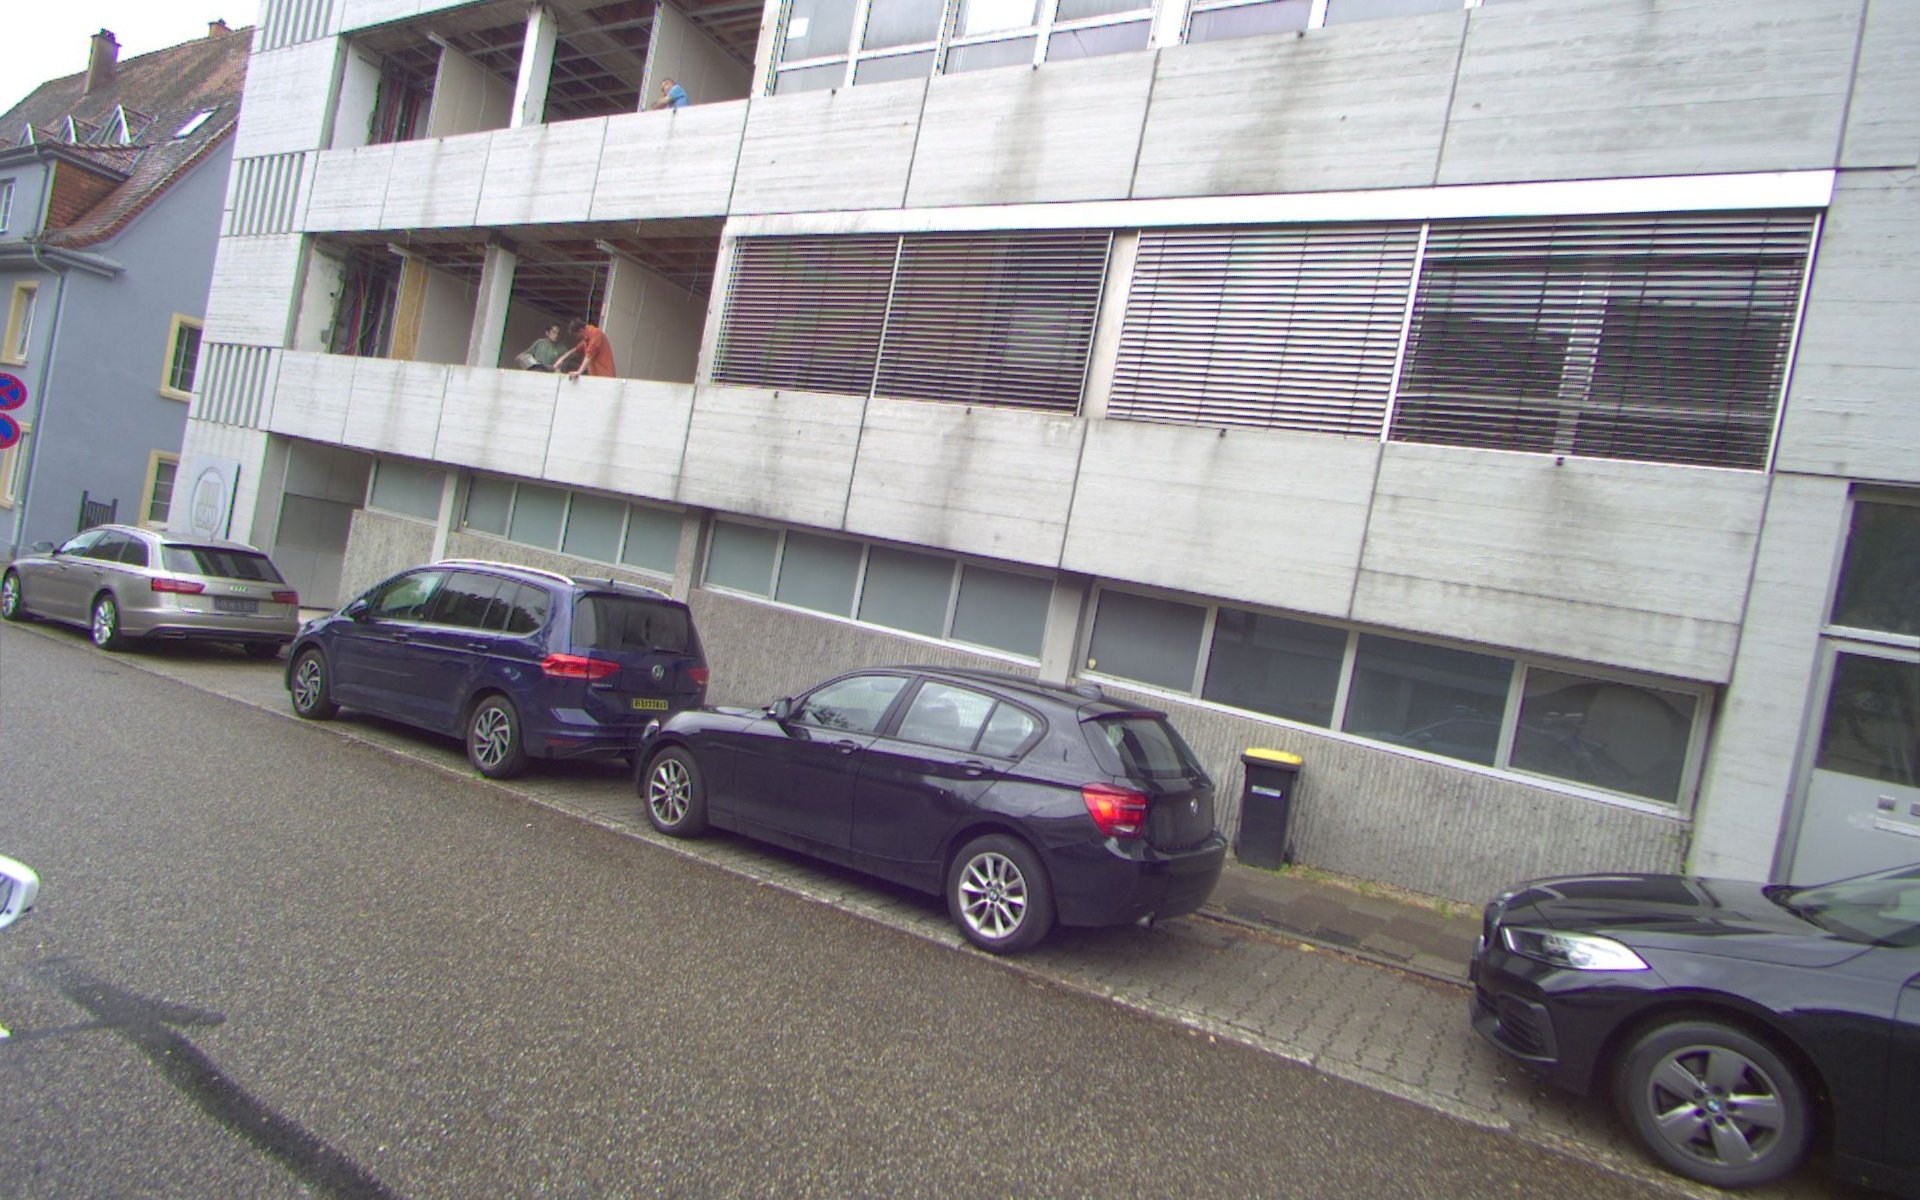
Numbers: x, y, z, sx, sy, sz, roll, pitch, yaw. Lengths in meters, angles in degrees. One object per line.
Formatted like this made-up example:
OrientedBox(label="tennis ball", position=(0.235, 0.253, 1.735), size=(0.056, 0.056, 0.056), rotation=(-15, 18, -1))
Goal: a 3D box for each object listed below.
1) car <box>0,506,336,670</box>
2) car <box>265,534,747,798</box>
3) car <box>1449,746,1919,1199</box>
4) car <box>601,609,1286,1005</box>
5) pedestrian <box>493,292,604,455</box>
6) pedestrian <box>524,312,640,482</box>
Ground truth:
OrientedBox(label="car", position=(-10.413, -0.177, 13.042), size=(4.449, 1.465, 1.967), rotation=(7, -1, 30))
OrientedBox(label="car", position=(-4.135, 0.491, 9.023), size=(4.090, 1.618, 1.732), rotation=(7, -1, 30))
OrientedBox(label="car", position=(4.463, 1.698, 3.924), size=(4.367, 1.451, 1.999), rotation=(7, -2, 30))
OrientedBox(label="car", position=(-0.265, 1.077, 6.684), size=(4.183, 1.465, 1.750), rotation=(7, -1, 34))
OrientedBox(label="pedestrian", position=(-5.849, -3.189, 14.334), size=(0.847, 2.036, 0.909), rotation=(6, -2, 31))
OrientedBox(label="pedestrian", position=(-5.113, -2.710, 13.633), size=(0.847, 2.036, 0.909), rotation=(6, -2, 31))
